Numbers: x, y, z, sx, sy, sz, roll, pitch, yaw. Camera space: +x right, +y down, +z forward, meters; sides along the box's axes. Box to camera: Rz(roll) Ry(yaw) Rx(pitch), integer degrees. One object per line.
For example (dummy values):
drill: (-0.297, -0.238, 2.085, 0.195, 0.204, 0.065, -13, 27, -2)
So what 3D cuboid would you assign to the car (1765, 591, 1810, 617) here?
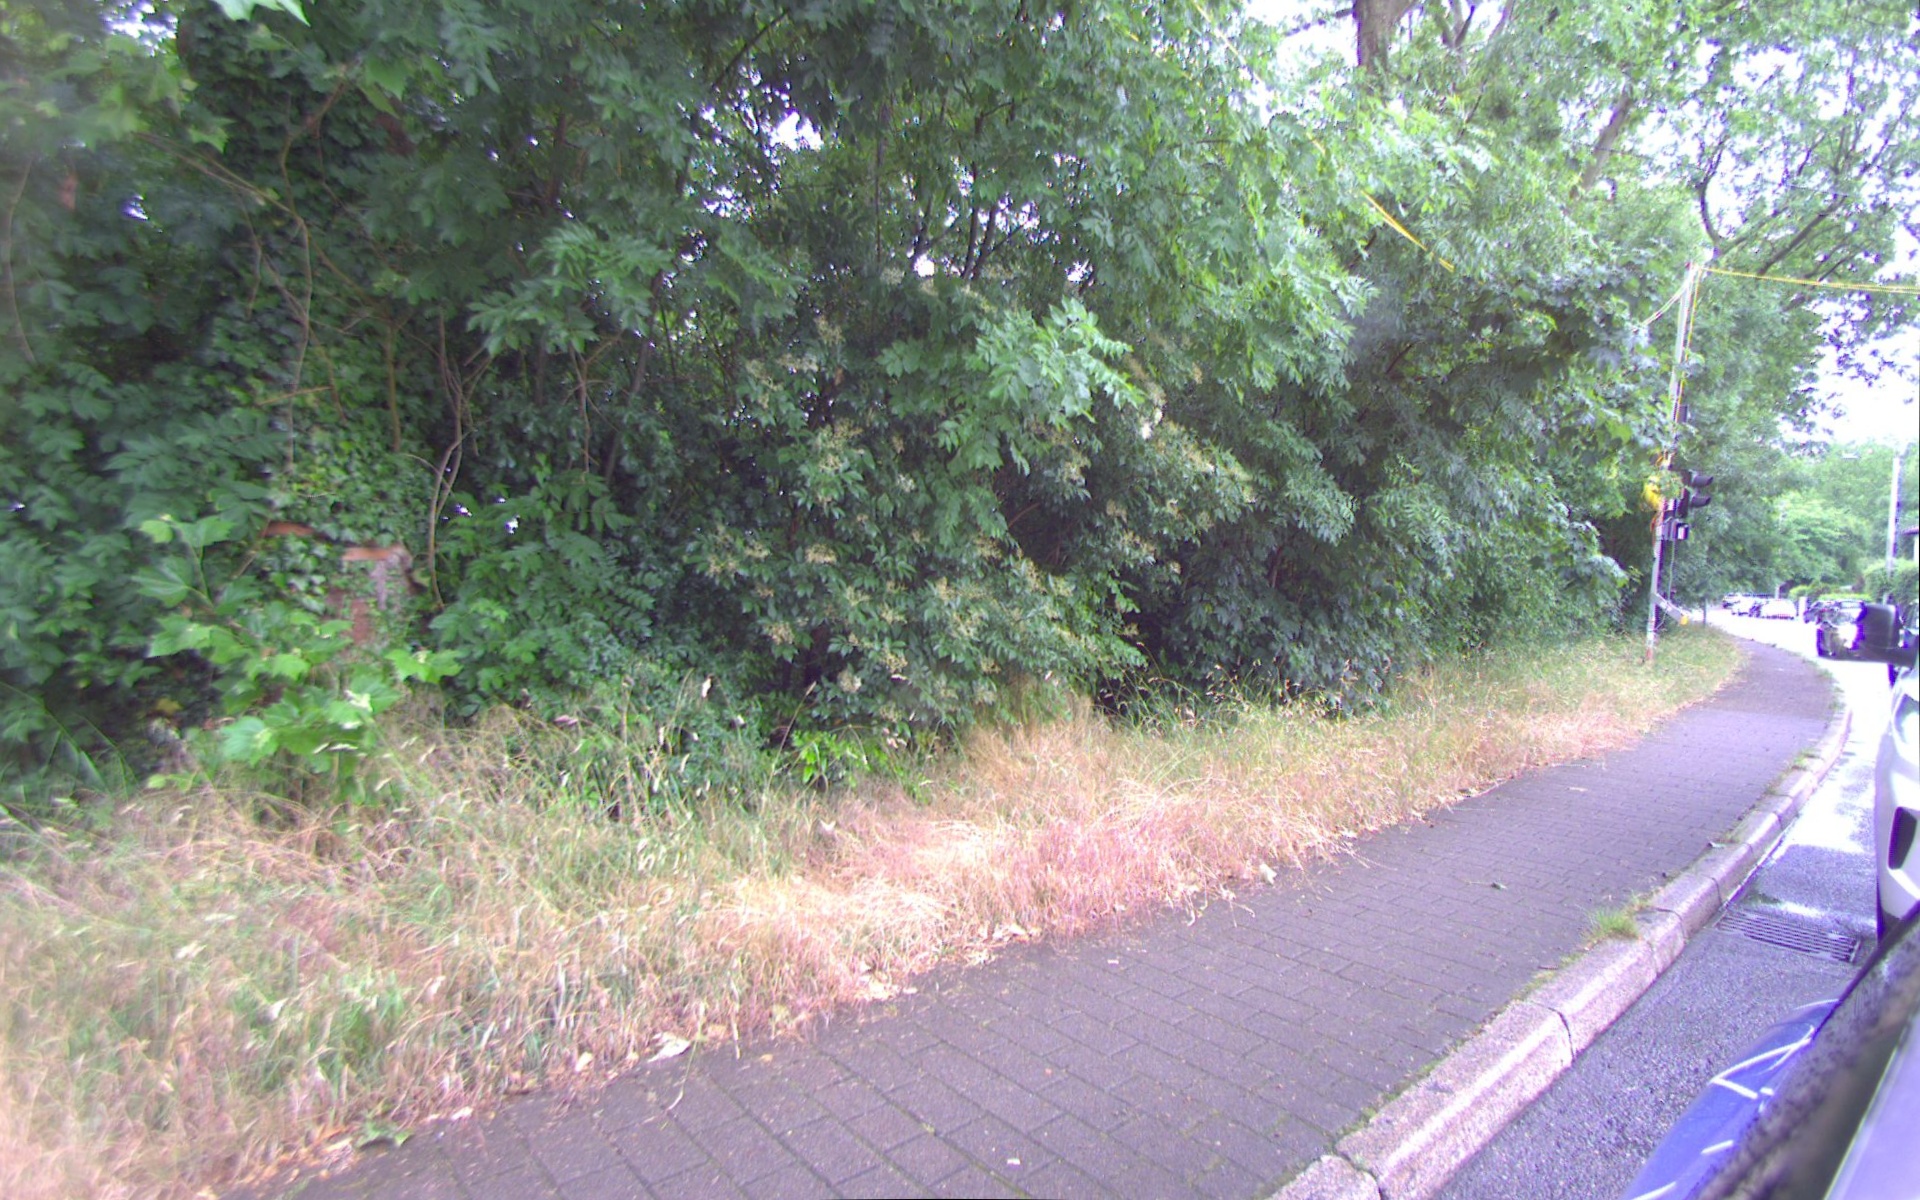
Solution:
car: (60.450, 0.268, 74.017, 1.984, 1.884, 4.311, 0, 0, 32)

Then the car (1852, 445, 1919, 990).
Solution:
car: (5.851, 0.391, 4.590, 5.118, 1.917, 2.044, -1, 0, -41)

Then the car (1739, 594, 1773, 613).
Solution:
car: (64.850, 0.258, 82.461, 1.752, 1.547, 3.550, 0, 0, 32)

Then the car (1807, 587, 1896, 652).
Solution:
car: (23.874, 0.536, 27.182, 1.663, 1.610, 3.946, 0, -2, 40)

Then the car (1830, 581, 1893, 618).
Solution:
car: (51.315, -0.062, 57.680, 1.984, 2.039, 3.955, 0, 0, 32)
